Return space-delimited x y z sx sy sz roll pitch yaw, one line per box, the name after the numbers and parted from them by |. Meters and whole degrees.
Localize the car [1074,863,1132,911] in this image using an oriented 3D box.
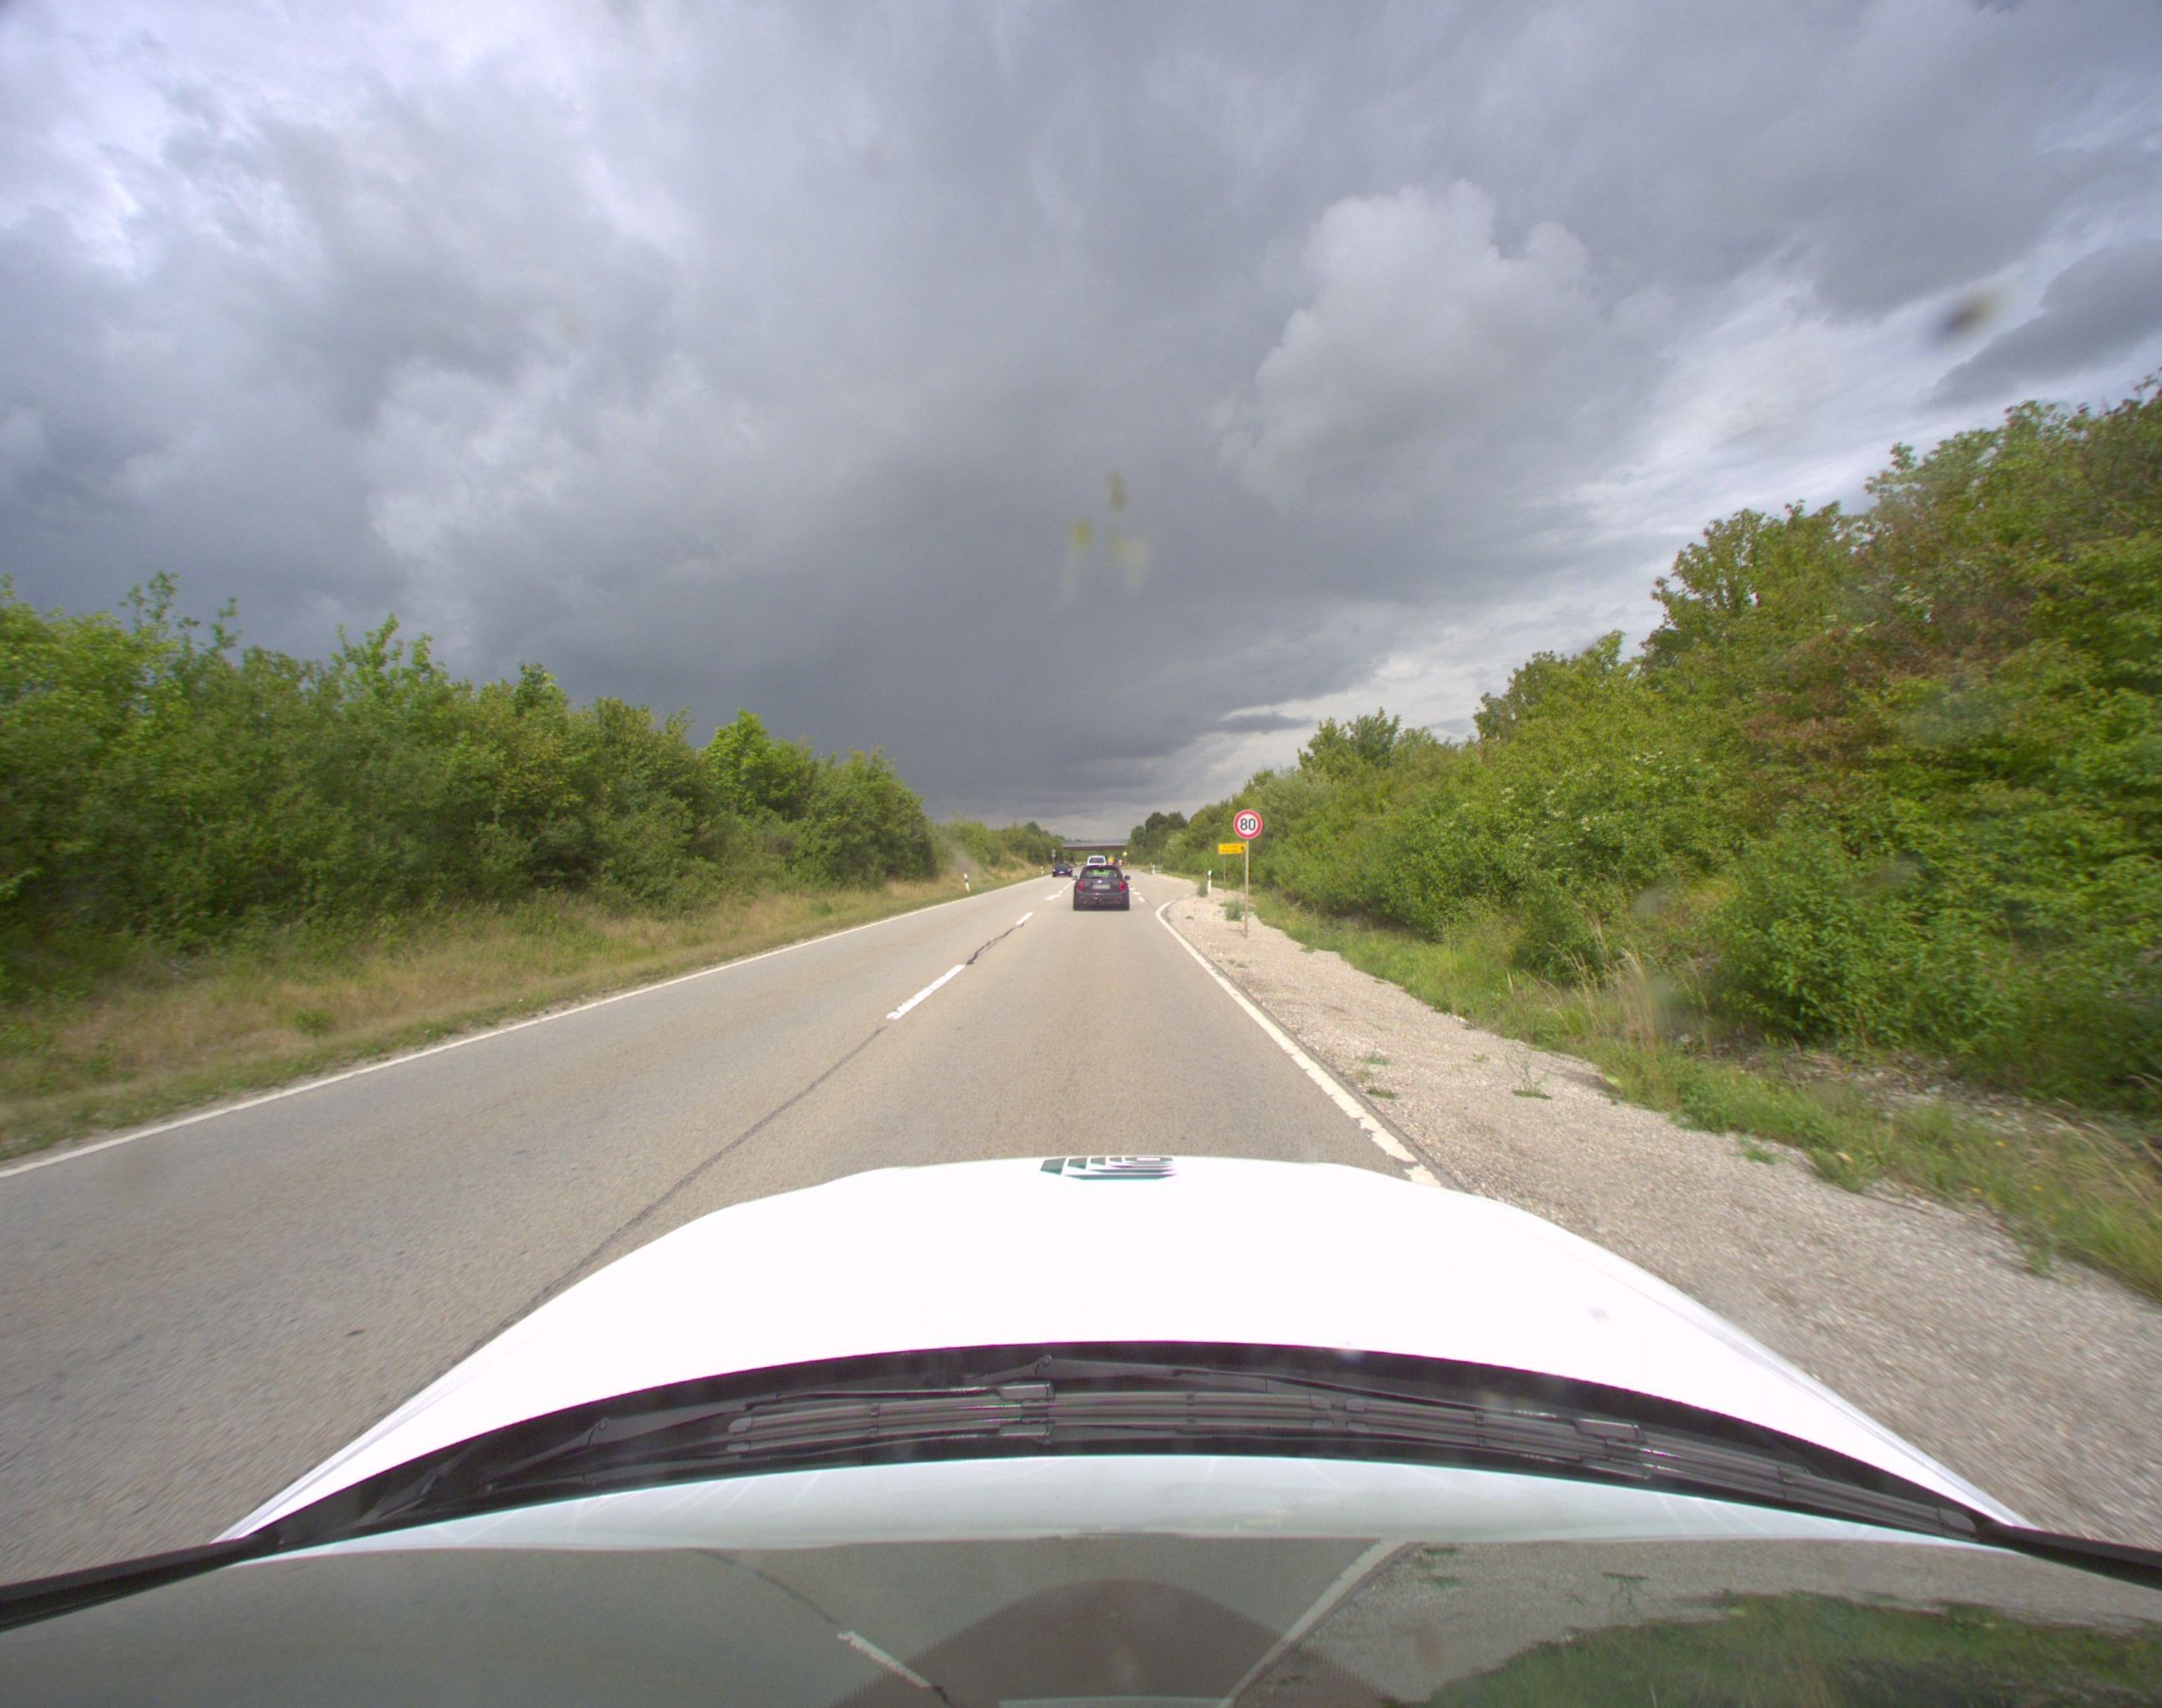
0.705 0.999 26.369 1.750 1.427 4.001 0 -1 1 | car

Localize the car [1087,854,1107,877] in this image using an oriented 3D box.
1.464 1.054 75.901 1.813 2.055 4.001 0 -1 1 | car

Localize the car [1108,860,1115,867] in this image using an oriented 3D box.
8.276 2.564 223.053 1.775 1.706 3.999 0 -1 0 | car

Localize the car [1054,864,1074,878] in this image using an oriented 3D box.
-1.603 1.618 78.091 1.695 1.330 4.000 -1 -1 1 | car

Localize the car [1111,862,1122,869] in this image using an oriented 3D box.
7.601 2.515 174.019 1.987 1.552 3.998 0 -1 -1 | car
